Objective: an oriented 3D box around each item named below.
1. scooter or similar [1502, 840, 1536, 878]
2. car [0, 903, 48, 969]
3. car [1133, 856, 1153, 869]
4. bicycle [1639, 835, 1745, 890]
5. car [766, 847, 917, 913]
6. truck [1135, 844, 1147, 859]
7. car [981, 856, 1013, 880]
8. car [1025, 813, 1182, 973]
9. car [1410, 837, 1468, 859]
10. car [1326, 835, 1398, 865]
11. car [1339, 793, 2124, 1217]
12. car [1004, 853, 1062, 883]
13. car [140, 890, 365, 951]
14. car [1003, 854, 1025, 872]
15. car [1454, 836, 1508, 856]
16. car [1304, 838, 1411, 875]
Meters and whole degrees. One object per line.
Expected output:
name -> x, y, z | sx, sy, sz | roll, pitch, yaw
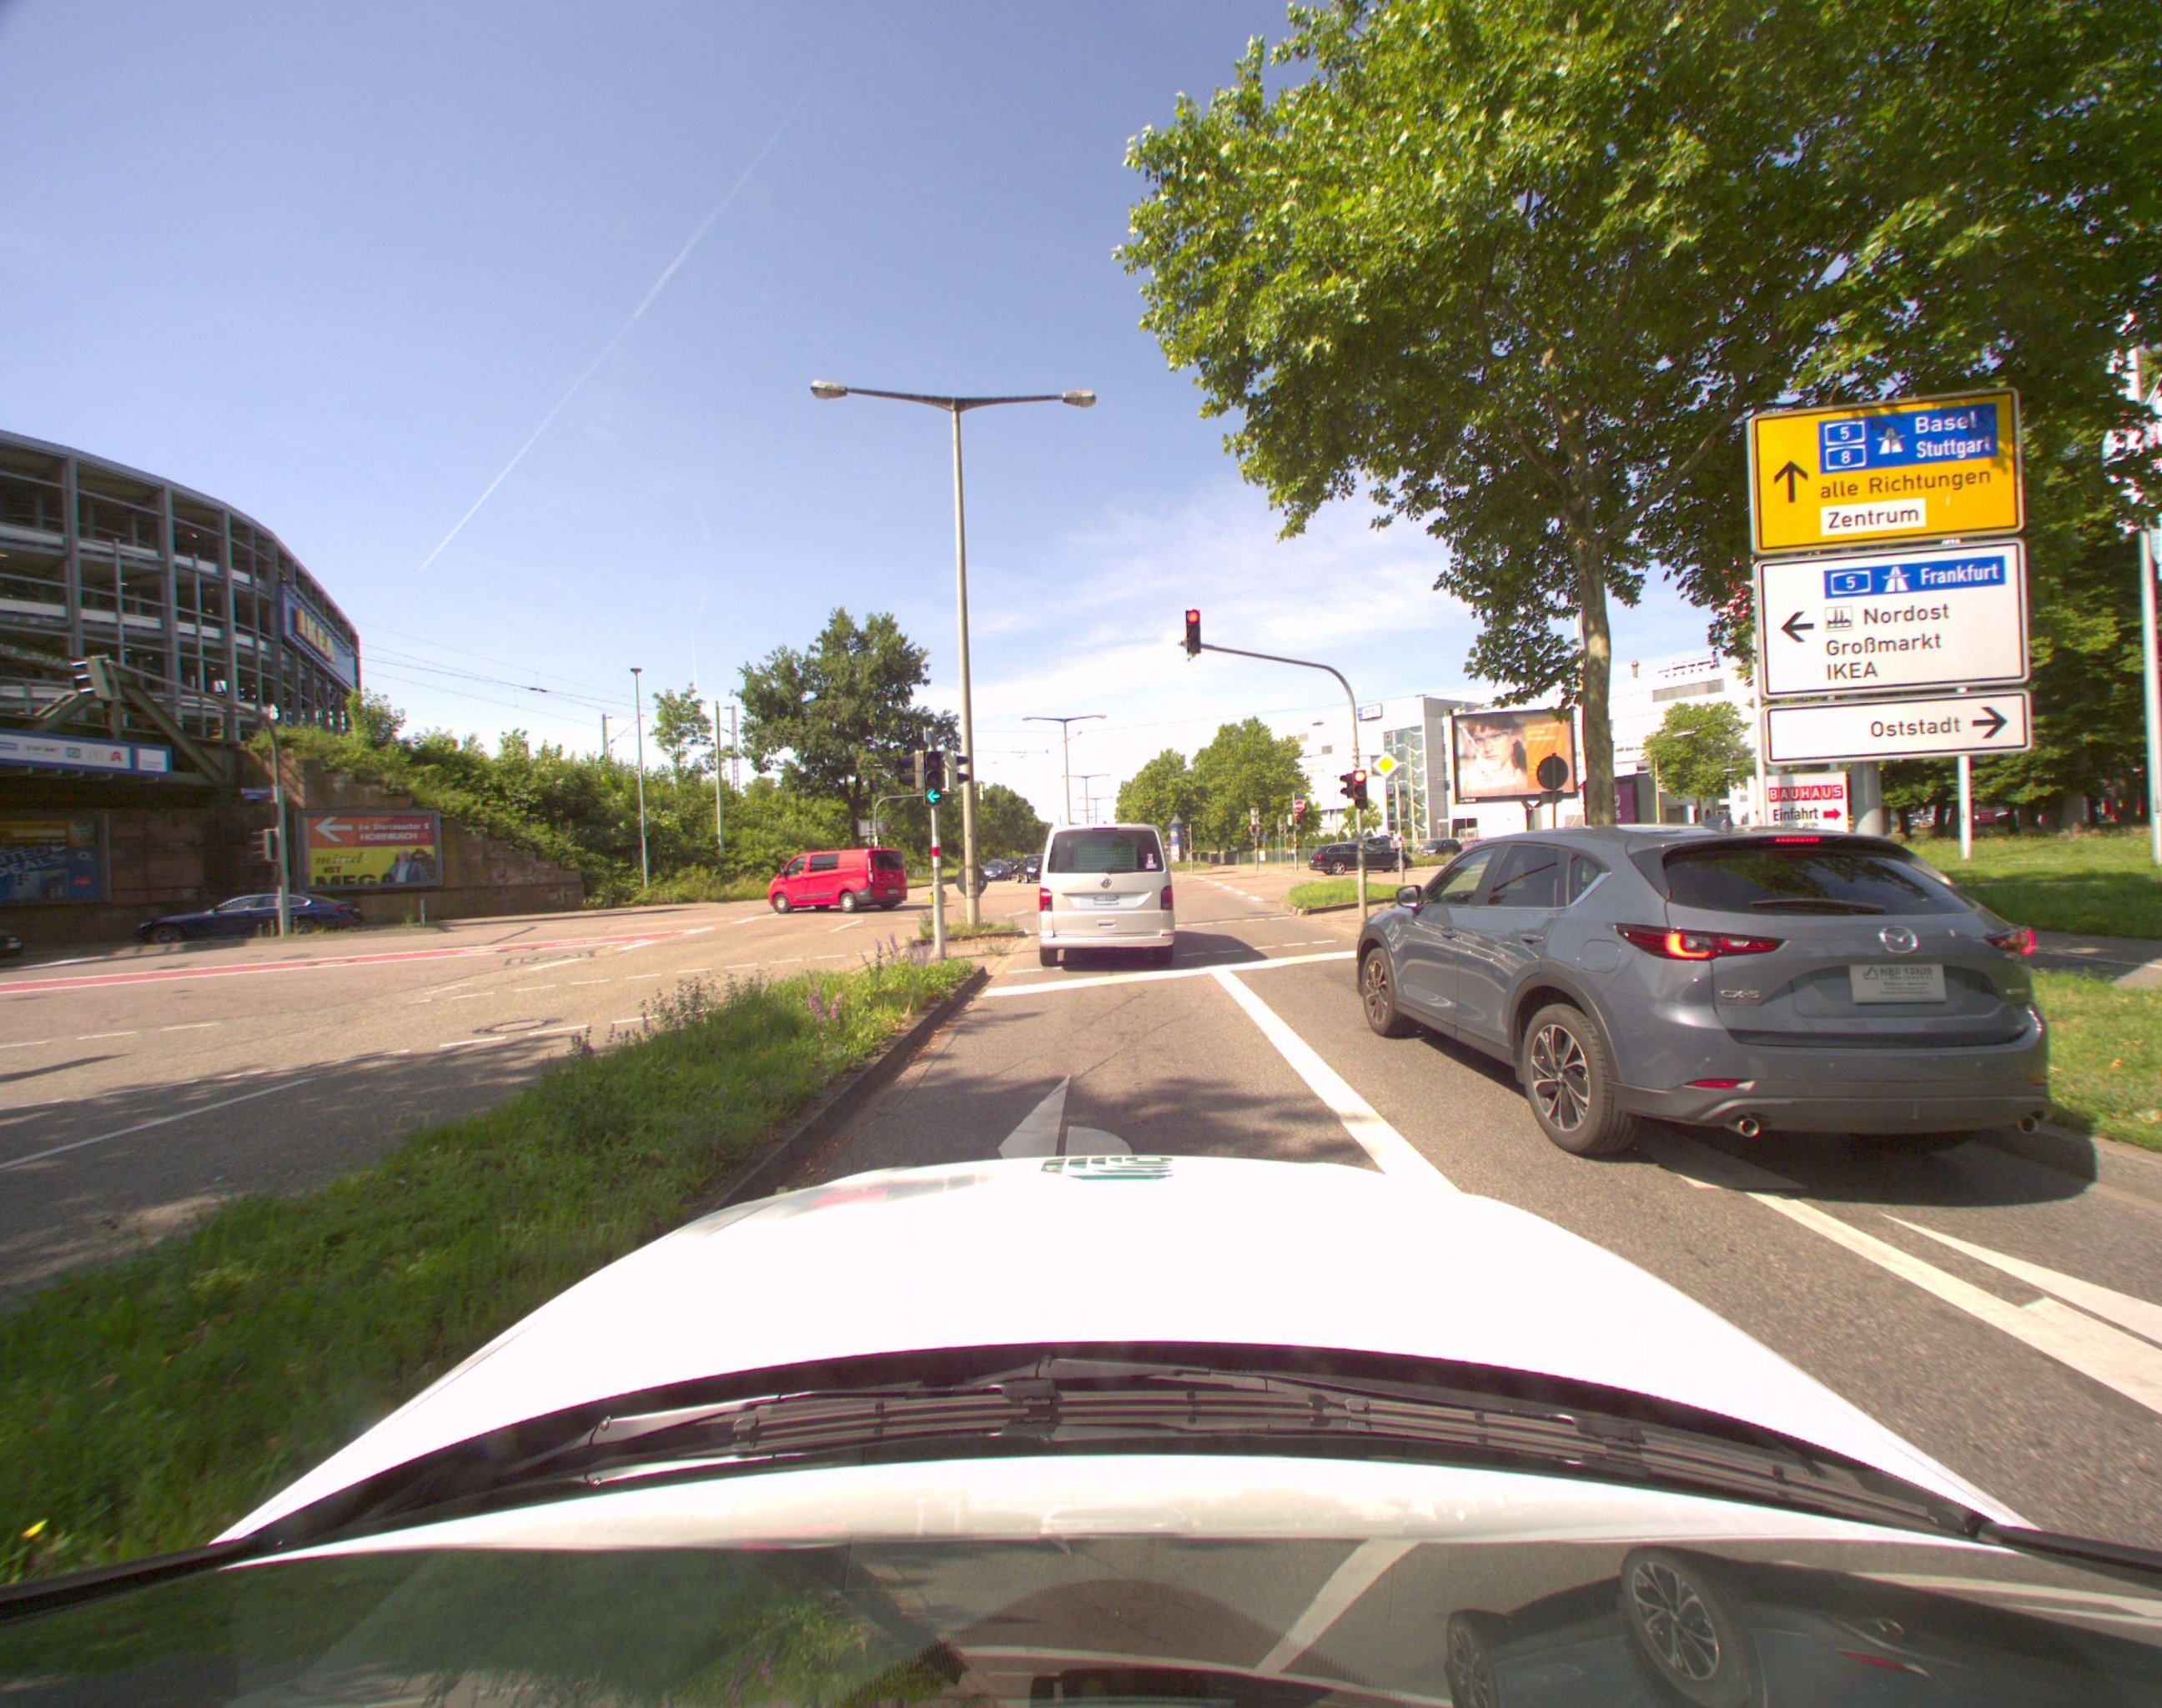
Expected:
scooter or similar -> 13.728, 0.157, 25.544 | 0.423, 1.126, 1.124 | -3, 0, 1
car -> -26.098, 1.948, 17.557 | 4.353, 1.395, 1.752 | -3, 0, -34
car -> 6.115, 0.819, 79.902 | 1.633, 1.236, 3.261 | -3, 0, 9
bicycle -> 13.773, 0.191, 18.405 | 1.771, 1.108, 0.506 | -4, -1, 20
car -> -7.774, 0.862, 26.387 | 4.502, 1.924, 1.987 | -3, 0, 28
truck -> 18.517, -0.843, 251.084 | 3.176, 4.355, 13.166 | -3, 0, 5
car -> -5.988, 0.998, 58.599 | 1.844, 1.561, 3.999 | -3, 0, 0
car -> 0.382, 0.506, 12.880 | 1.934, 1.971, 5.024 | -2, 0, 2
car -> 27.096, -0.430, 61.578 | 4.646, 1.444, 1.762 | -3, 0, -35
car -> 17.928, -0.238, 51.873 | 4.646, 1.689, 1.895 | -3, 0, -35
car -> 3.285, 0.603, 5.476 | 1.759, 1.659, 4.497 | -1, 0, 1
car -> -2.828, 0.807, 46.705 | 1.817, 1.605, 4.342 | -3, 0, -25
car -> -24.526, 1.928, 24.356 | 4.337, 1.397, 1.776 | -3, 0, -29
car -> -7.052, 0.911, 85.791 | 1.844, 1.814, 3.999 | -3, 0, 0
car -> 31.825, -0.648, 64.704 | 4.646, 1.444, 1.762 | -3, 0, -35
car -> 12.845, 0.109, 38.043 | 4.361, 1.510, 1.853 | -3, 0, 3
